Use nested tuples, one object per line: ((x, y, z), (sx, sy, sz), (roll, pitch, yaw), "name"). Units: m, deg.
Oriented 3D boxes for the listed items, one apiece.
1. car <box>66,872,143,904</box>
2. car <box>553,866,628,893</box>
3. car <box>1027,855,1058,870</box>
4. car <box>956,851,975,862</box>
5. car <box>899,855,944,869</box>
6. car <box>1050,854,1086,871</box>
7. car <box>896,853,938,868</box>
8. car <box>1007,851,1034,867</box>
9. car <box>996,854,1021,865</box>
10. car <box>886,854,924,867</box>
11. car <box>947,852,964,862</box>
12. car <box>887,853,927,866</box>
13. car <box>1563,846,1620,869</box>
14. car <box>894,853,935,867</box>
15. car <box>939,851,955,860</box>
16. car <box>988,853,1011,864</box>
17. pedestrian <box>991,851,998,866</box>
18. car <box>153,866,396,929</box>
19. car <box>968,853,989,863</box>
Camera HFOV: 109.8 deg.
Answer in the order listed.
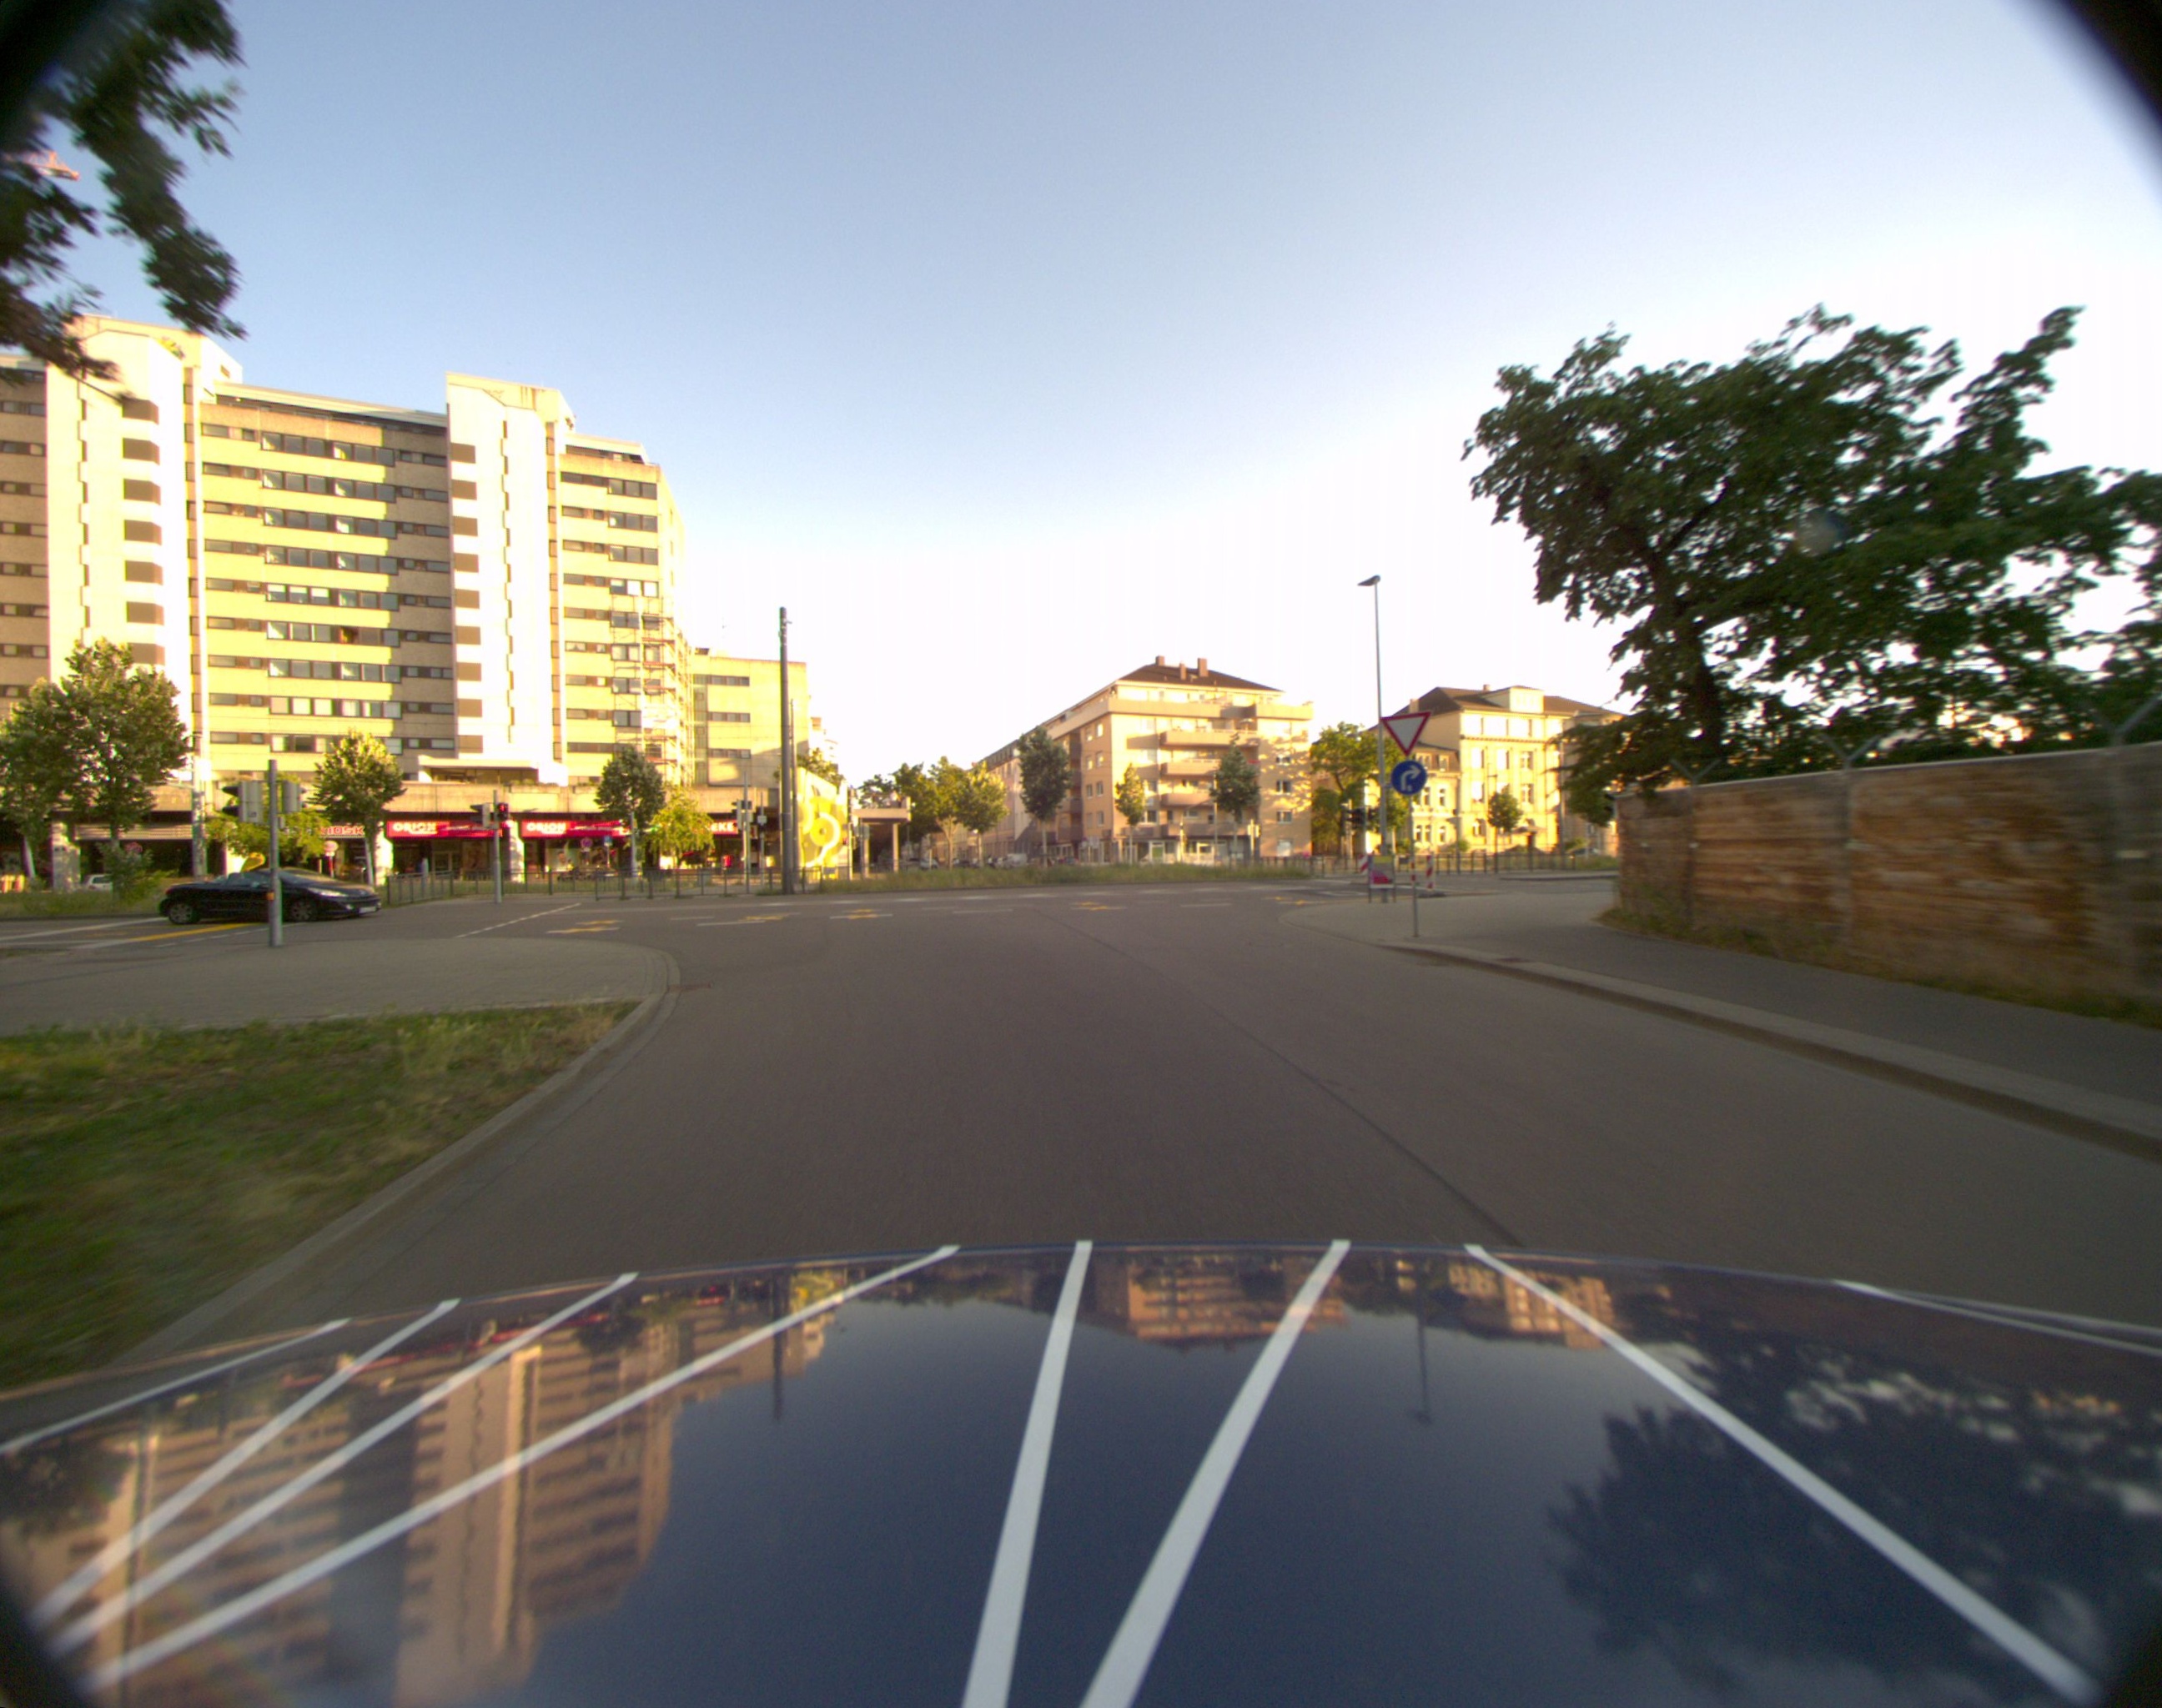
((-51.258, 1.752, 39.887), (4.319, 1.552, 1.726), (-1, 1, 28), "car")
((-30.180, 1.534, 46.707), (4.333, 1.552, 1.965), (-1, 1, 28), "car")
((-3.978, 0.862, 77.059), (2.002, 1.477, 3.993), (-1, 1, -20), "car")
((-17.404, 0.406, 113.963), (2.002, 1.521, 3.993), (-1, 1, -20), "car")
((-17.825, 0.842, 84.677), (4.648, 1.390, 1.996), (-1, 1, -20), "car")
((-1.203, 0.756, 69.160), (2.002, 1.477, 3.993), (-1, 1, -20), "car")
((-19.345, 0.754, 89.619), (4.648, 1.551, 1.996), (-1, 1, -20), "car")
((-6.816, 0.549, 85.075), (2.002, 1.740, 3.993), (-1, 1, -20), "car")
((-8.724, 0.634, 90.780), (2.002, 1.237, 3.993), (-1, 1, -20), "car")
((-22.817, 0.771, 98.393), (4.648, 1.551, 1.996), (-1, 1, -20), "car")
((-20.038, 0.501, 121.224), (2.002, 1.521, 3.993), (-1, 1, -20), "car")
((-21.922, 0.662, 95.511), (4.648, 1.551, 1.996), (-1, 1, -20), "car")
((36.926, 0.231, 55.002), (3.383, 1.558, 1.735), (-1, 1, -19), "car")
((-20.172, 0.711, 92.101), (4.648, 1.551, 1.996), (-1, 1, -20), "car")
((-22.271, 0.207, 126.114), (2.002, 1.521, 3.993), (-1, 1, -20), "car")
((-10.182, 0.522, 94.772), (2.002, 1.237, 3.993), (-1, 1, -20), "car")
((-12.216, 0.610, 107.283), (0.893, 2.002, 0.769), (-1, 1, -21), "pedestrian")
((-20.290, 1.060, 19.301), (3.909, 1.380, 1.799), (-1, 1, -9), "car")
((-14.078, 0.573, 103.873), (2.002, 1.237, 3.993), (-1, 1, -20), "car")
